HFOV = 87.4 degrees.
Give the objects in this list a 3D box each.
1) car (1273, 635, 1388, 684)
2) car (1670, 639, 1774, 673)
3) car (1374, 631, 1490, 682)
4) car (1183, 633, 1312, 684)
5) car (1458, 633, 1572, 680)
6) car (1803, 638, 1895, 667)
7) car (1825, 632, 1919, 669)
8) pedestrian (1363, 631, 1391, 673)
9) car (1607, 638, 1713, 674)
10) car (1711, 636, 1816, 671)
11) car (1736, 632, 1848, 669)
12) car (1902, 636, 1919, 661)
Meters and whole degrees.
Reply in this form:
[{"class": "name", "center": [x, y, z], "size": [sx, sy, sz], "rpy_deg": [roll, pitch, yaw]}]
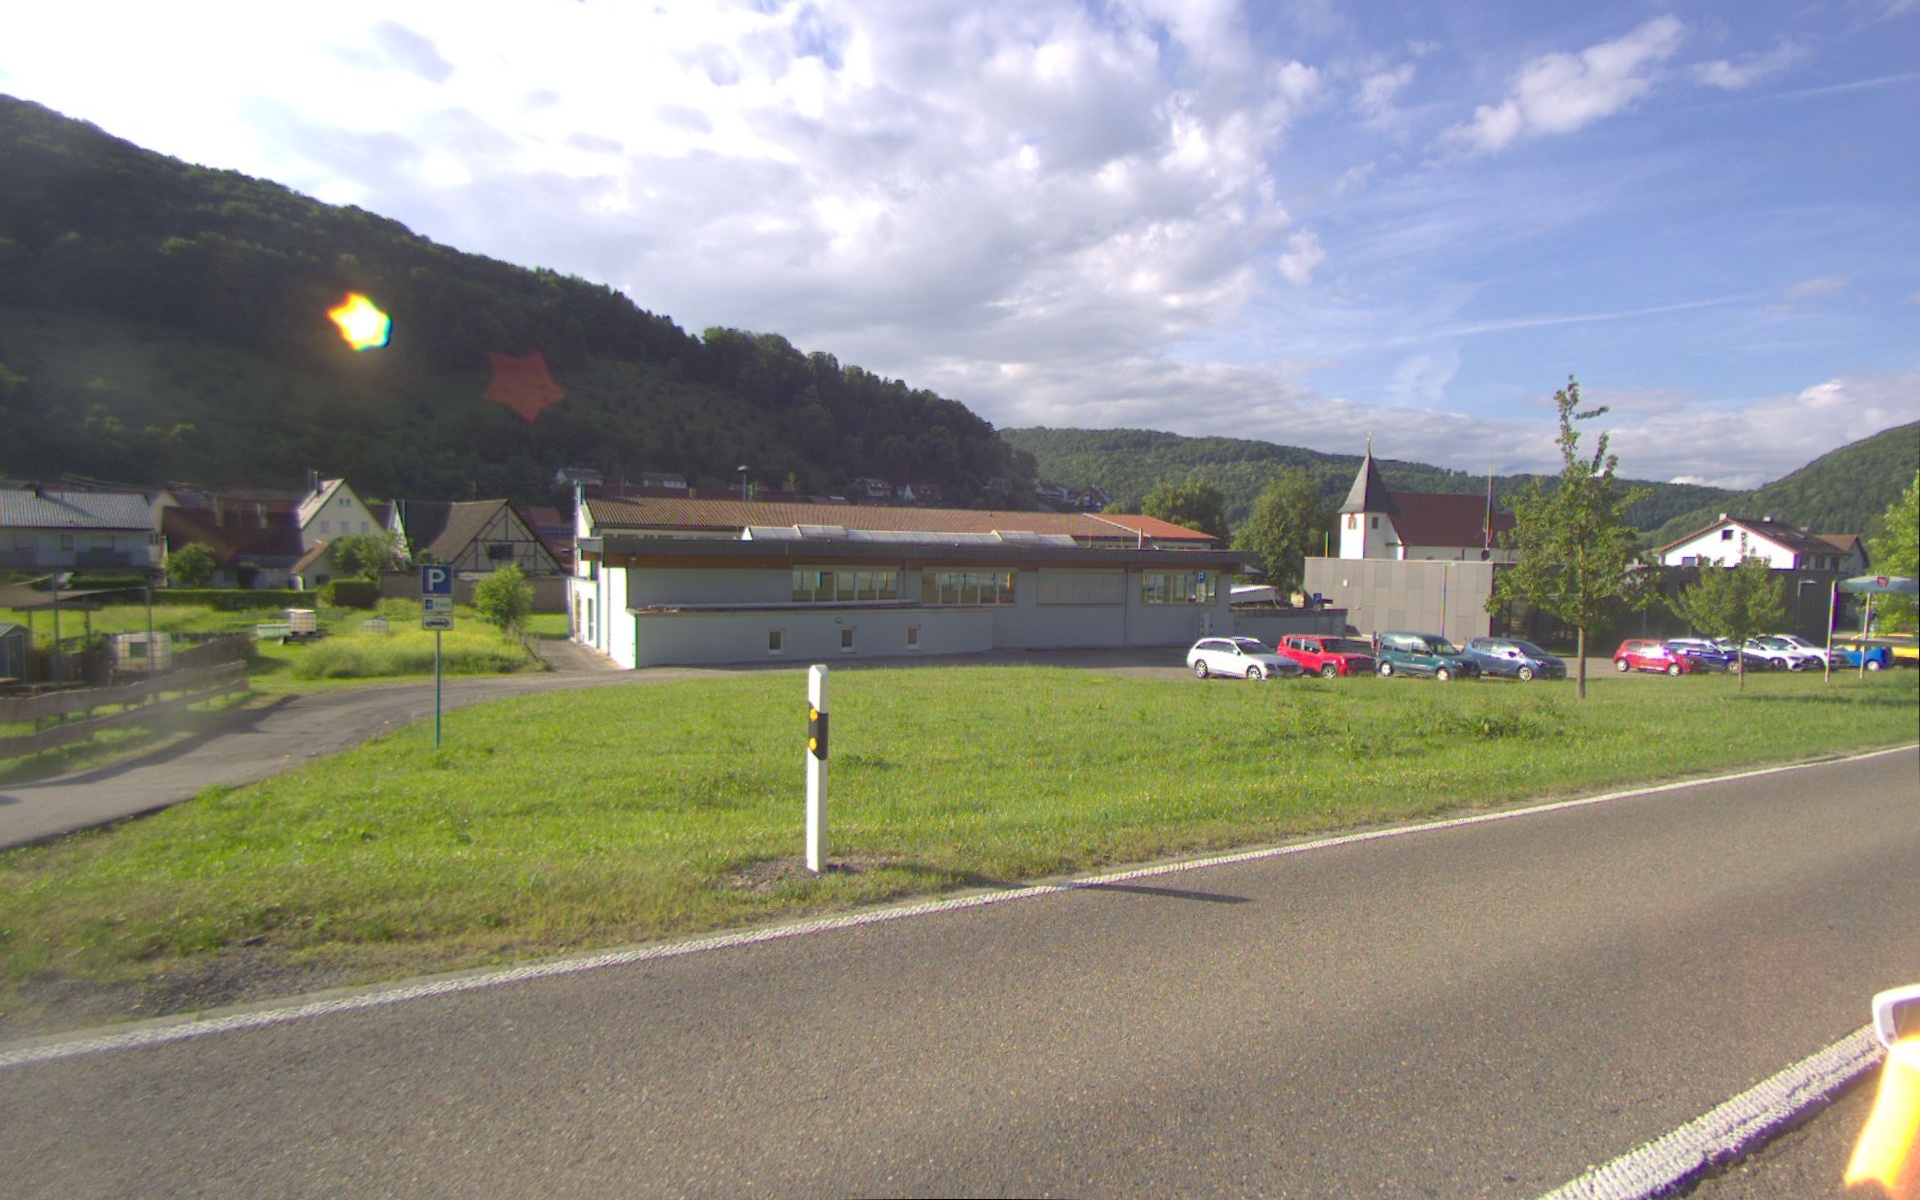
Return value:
[{"class": "car", "center": [13.428, 2.129, 36.628], "size": [1.732, 1.600, 3.909], "rpy_deg": [1, -1, -24]}, {"class": "car", "center": [36.004, 2.610, 47.540], "size": [1.574, 1.424, 3.616], "rpy_deg": [0, 0, -23]}, {"class": "car", "center": [18.309, 2.157, 39.155], "size": [1.733, 1.745, 3.848], "rpy_deg": [1, 0, -26]}, {"class": "car", "center": [10.274, 2.070, 36.288], "size": [1.972, 1.610, 4.628], "rpy_deg": [1, -1, -24]}, {"class": "car", "center": [22.543, 2.262, 40.930], "size": [1.708, 1.745, 3.808], "rpy_deg": [1, -1, -24]}, {"class": "car", "center": [46.978, 2.755, 53.131], "size": [1.641, 1.392, 3.352], "rpy_deg": [1, -1, -31]}, {"class": "car", "center": [49.535, 2.667, 53.812], "size": [1.815, 1.839, 4.542], "rpy_deg": [1, -1, -23]}, {"class": "pedestrian", "center": [17.491, 2.163, 42.150], "size": [0.698, 1.716, 0.789], "rpy_deg": [1, 1, -33]}, {"class": "car", "center": [31.492, 2.493, 45.276], "size": [1.625, 1.463, 3.616], "rpy_deg": [1, -1, -23]}, {"class": "car", "center": [38.922, 2.560, 48.738], "size": [1.574, 1.514, 3.657], "rpy_deg": [-2, 0, -23]}, {"class": "car", "center": [41.717, 2.494, 50.474], "size": [1.574, 1.695, 4.067], "rpy_deg": [1, -1, -23]}, {"class": "car", "center": [58.047, 2.893, 58.969], "size": [1.488, 1.458, 3.704], "rpy_deg": [1, -1, -23]}]
